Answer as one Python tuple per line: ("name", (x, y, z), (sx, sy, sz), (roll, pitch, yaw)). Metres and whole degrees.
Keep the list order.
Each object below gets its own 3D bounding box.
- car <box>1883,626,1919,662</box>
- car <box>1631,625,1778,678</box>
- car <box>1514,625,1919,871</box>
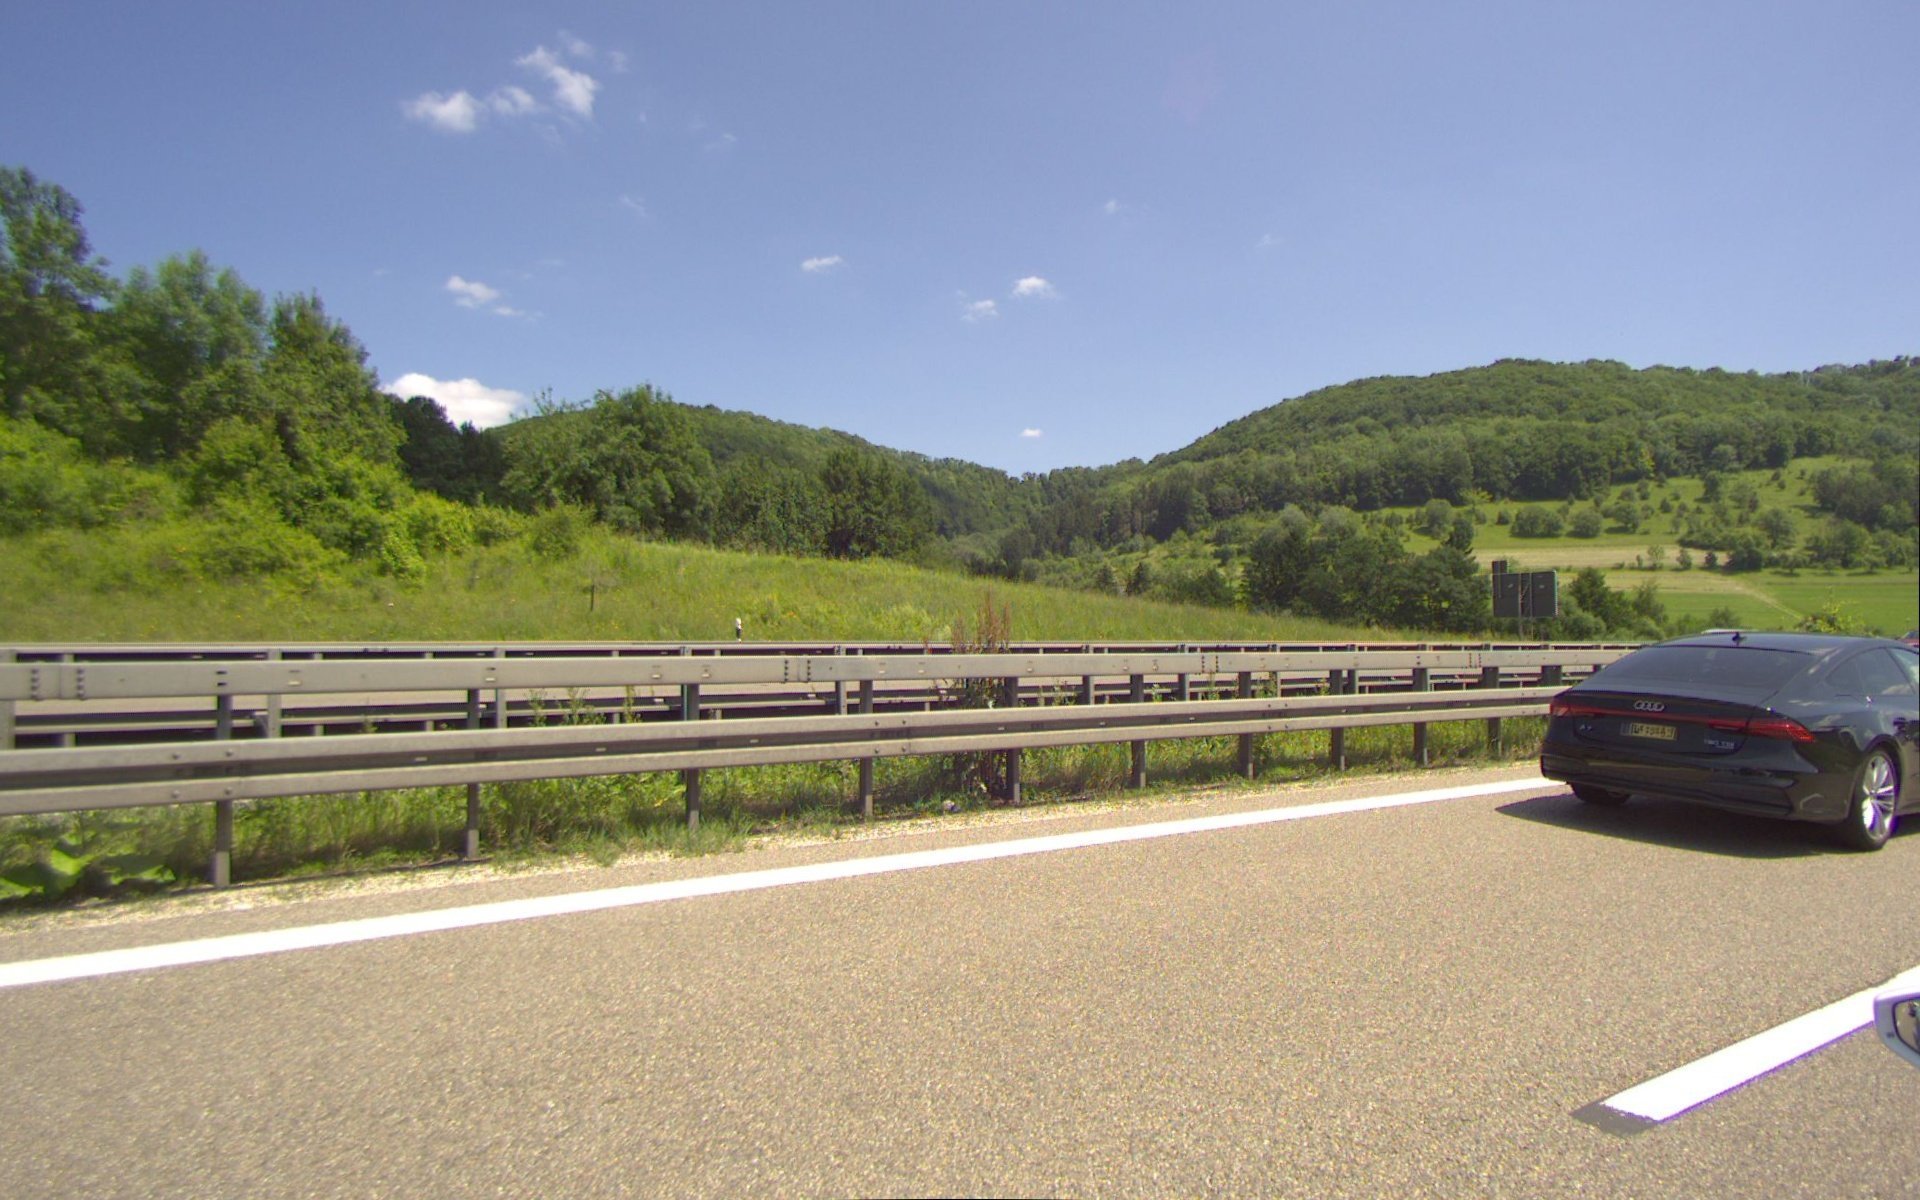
("car", (47.097, 2.154, 49.006), (4.491, 1.666, 1.816), (1, -1, -30))
("car", (22.567, 1.521, 30.426), (4.474, 1.474, 1.984), (1, -1, -30))
("car", (6.656, 0.936, 7.901), (4.911, 1.409, 1.792), (1, -1, -31))
